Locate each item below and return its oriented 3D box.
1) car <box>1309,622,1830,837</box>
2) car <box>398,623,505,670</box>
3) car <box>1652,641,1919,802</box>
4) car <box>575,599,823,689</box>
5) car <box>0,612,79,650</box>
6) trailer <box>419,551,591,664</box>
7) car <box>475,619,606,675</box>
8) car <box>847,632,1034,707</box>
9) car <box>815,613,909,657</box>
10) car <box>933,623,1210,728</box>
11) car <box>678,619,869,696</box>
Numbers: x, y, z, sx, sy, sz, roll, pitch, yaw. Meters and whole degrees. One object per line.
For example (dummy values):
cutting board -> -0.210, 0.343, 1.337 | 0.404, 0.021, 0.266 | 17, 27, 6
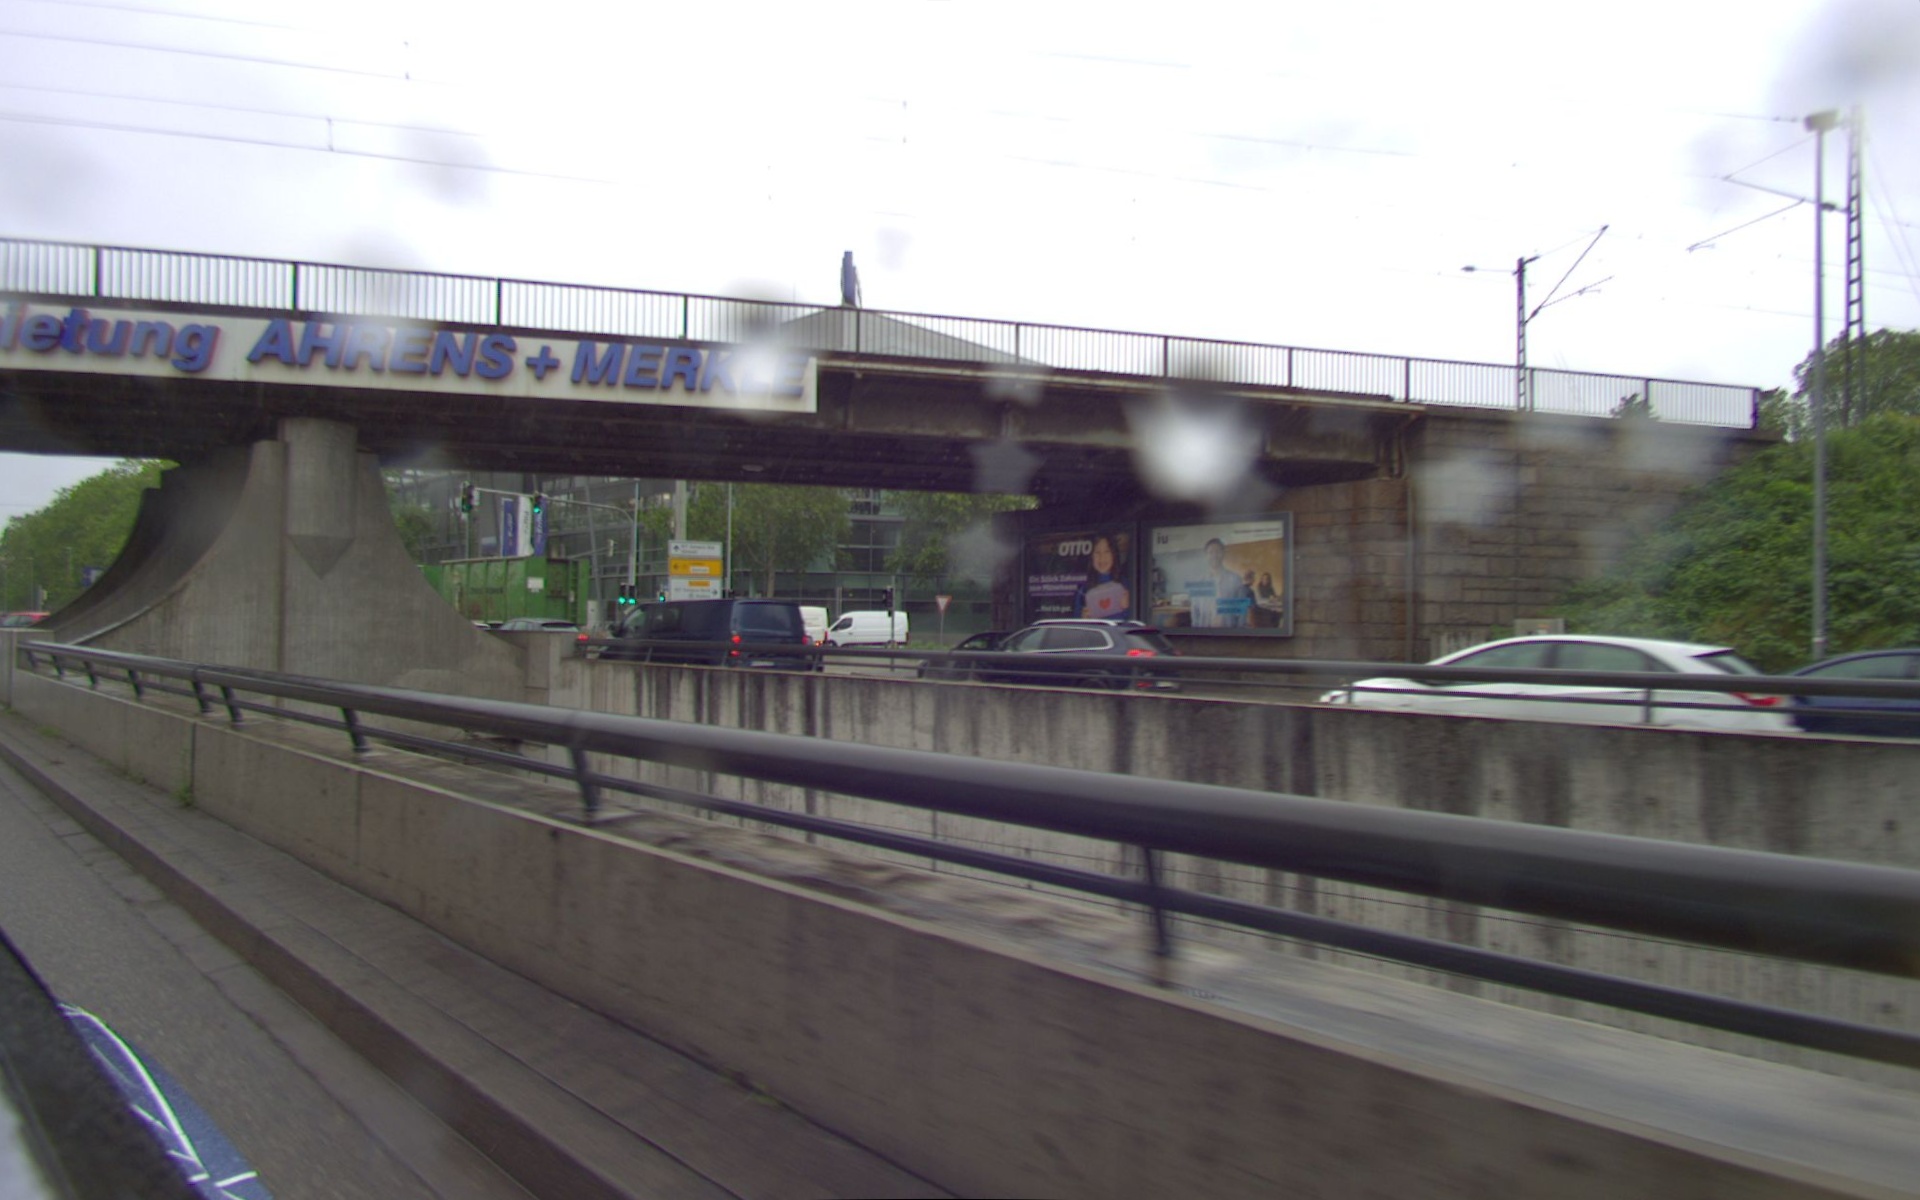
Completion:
car -> 5.834, 1.061, 9.985 | 4.089, 1.645, 1.971 | -1, -2, 43
car -> -14.353, 1.284, 28.520 | 3.441, 1.210, 1.491 | -1, -2, 41
car -> 10.408, 1.284, 11.028 | 4.548, 1.586, 1.958 | -1, -2, 41
car -> -5.386, 0.828, 20.403 | 5.534, 1.586, 1.959 | 0, -2, 39
car -> -38.085, 1.219, 40.798 | 3.958, 1.463, 1.814 | 0, -2, 12
trailer -> -18.018, 0.369, 39.729 | 8.513, 4.017, 2.653 | -1, -2, 40
car -> -13.147, 1.426, 31.602 | 4.548, 1.586, 1.958 | -1, -2, 41
car -> -0.533, 1.584, 24.214 | 4.377, 1.586, 1.846 | -1, -2, 41
car -> -5.692, 2.016, 58.796 | 5.174, 2.452, 1.975 | 1, -2, -12
car -> 1.869, 1.236, 17.929 | 4.608, 1.586, 1.958 | -1, -2, 41
car -> -4.397, 1.257, 23.506 | 4.548, 1.586, 1.958 | -1, -2, 41
